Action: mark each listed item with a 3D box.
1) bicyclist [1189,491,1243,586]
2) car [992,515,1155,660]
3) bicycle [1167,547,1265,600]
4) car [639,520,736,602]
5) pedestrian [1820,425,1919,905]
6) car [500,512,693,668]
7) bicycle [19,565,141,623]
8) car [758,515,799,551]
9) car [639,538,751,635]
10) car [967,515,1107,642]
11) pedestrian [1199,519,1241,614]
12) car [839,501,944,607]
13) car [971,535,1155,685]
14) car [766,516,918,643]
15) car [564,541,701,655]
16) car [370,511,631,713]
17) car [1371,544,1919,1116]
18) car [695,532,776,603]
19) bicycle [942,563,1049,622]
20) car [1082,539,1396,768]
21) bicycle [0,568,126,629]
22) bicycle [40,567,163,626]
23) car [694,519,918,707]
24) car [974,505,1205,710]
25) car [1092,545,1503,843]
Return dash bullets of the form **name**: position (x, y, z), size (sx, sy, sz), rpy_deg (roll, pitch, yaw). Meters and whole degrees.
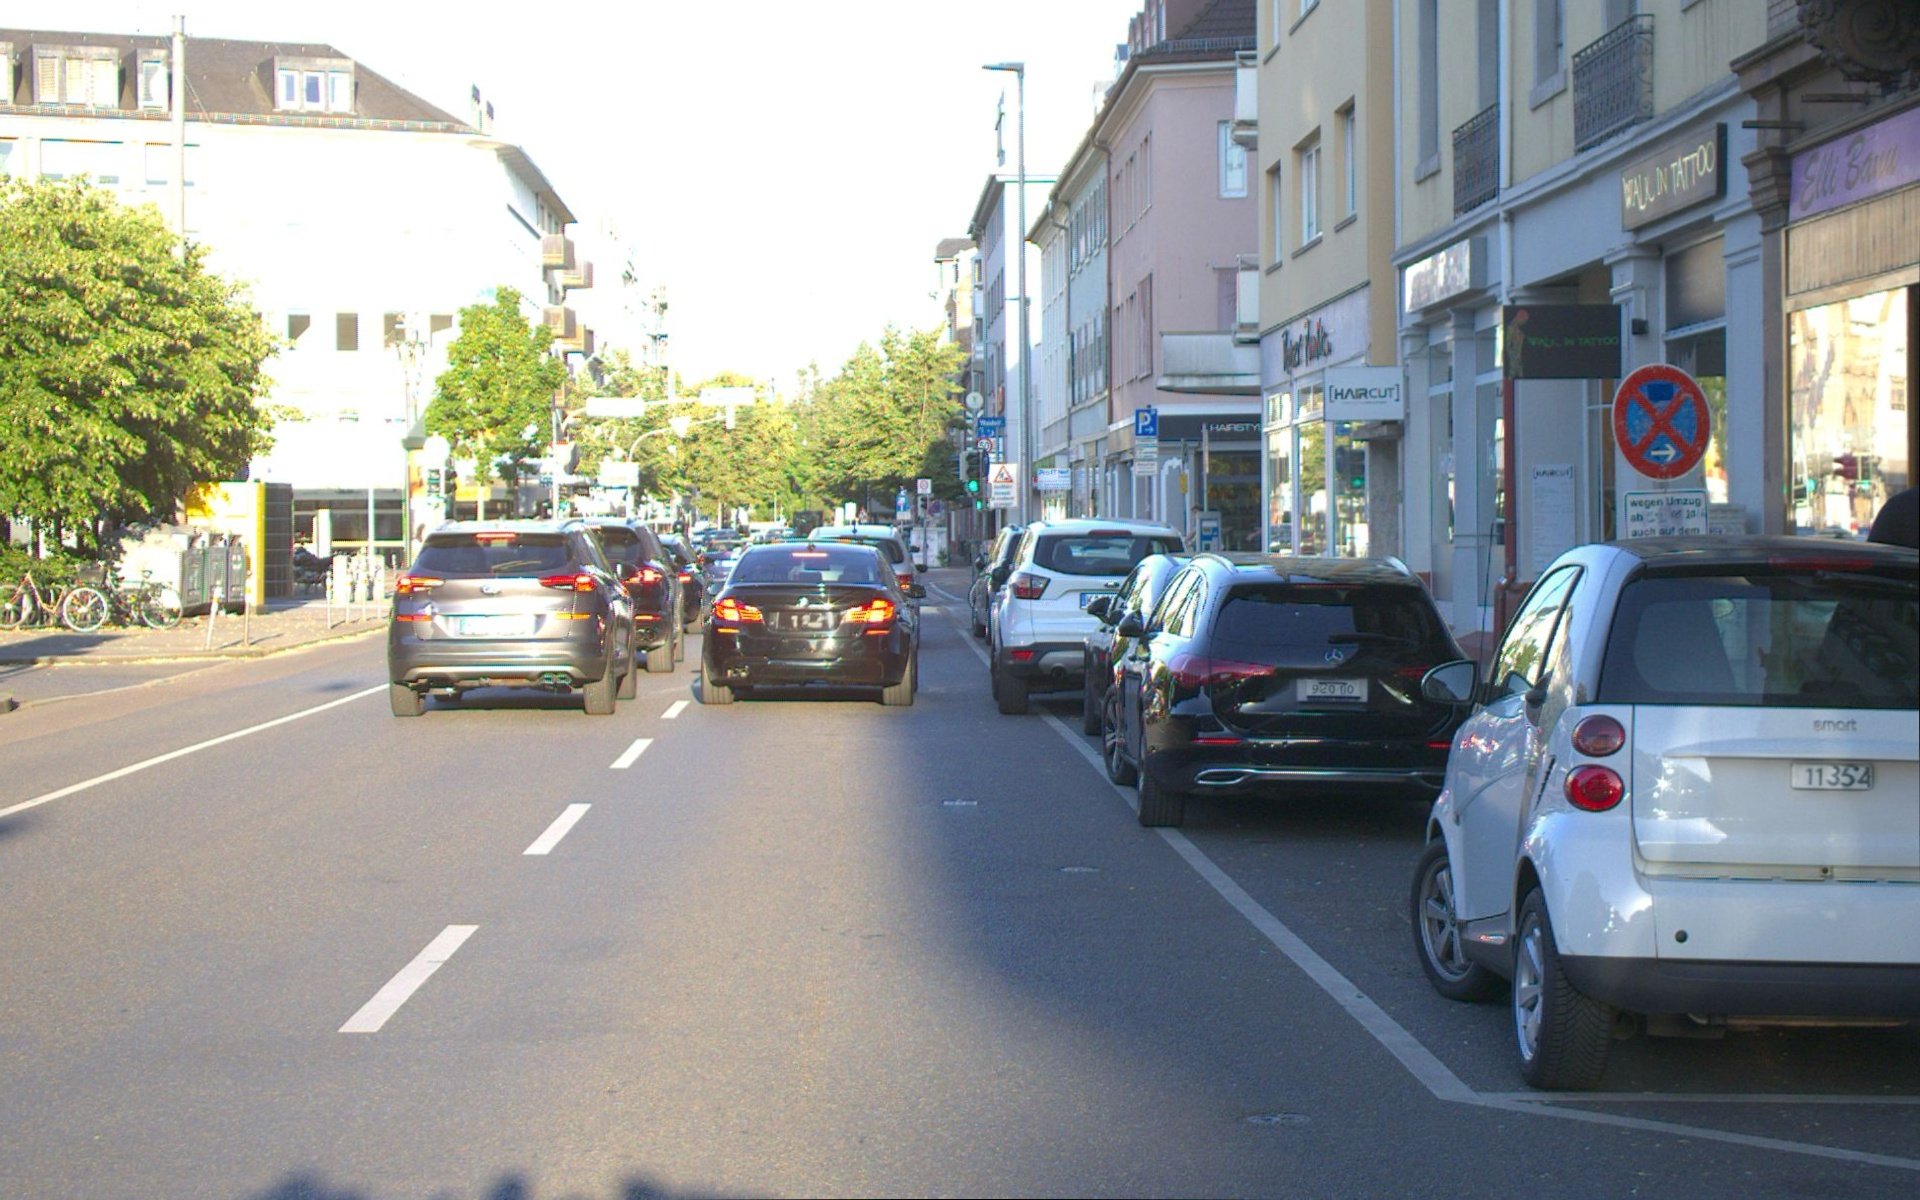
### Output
- **bicyclist**: position (4.791, -1.153, 64.446), size (0.832, 1.771, 0.608), rpy_deg (1, 1, 25)
- **car**: position (1.338, -0.172, 41.830), size (1.729, 1.646, 3.829), rpy_deg (2, 1, -1)
- **bicycle**: position (4.803, -0.508, 64.485), size (1.768, 0.963, 0.490), rpy_deg (1, 1, 26)
- **car**: position (-5.310, -0.795, 67.330), size (1.779, 1.542, 4.001), rpy_deg (0, 1, -3)
- **pedestrian**: position (3.947, 0.223, 13.566), size (0.772, 1.821, 1.011), rpy_deg (-2, 2, -2)
- **car**: position (-3.999, -0.152, 38.407), size (1.896, 1.644, 4.105), rpy_deg (0, 1, -3)
- **bicycle**: position (-14.221, -0.098, 55.563), size (1.825, 0.850, 0.484), rpy_deg (3, 1, -5)
- **car**: position (-8.059, -2.997, 152.884), size (1.779, 1.542, 4.001), rpy_deg (0, 1, -3)
- **car**: position (-4.421, -0.248, 57.809), size (1.779, 1.542, 4.001), rpy_deg (0, 1, -3)
- **car**: position (1.042, -0.316, 48.045), size (1.729, 1.646, 3.970), rpy_deg (2, 1, -1)
- **pedestrian**: position (5.019, -0.653, 66.320), size (0.699, 1.805, 0.635), rpy_deg (0, 1, -5)
- **car**: position (-1.385, -0.952, 69.837), size (1.993, 2.007, 4.000), rpy_deg (2, 1, -1)
- **car**: position (1.029, 0.069, 36.317), size (1.729, 1.445, 4.312), rpy_deg (2, 1, -1)
- **car**: position (-1.591, -0.307, 45.695), size (1.896, 1.575, 4.001), rpy_deg (1, 1, -2)
- **car**: position (-4.674, -0.064, 49.420), size (1.779, 1.542, 4.001), rpy_deg (0, 1, -3)
- **car**: position (-3.937, 0.054, 30.023), size (1.896, 1.644, 4.105), rpy_deg (0, 1, -2)
- **car**: position (2.296, 0.602, 10.915), size (1.532, 1.531, 3.283), rpy_deg (1, 1, -1)
- **car**: position (-5.106, -0.765, 78.626), size (1.779, 1.542, 4.001), rpy_deg (0, 1, -3)
- **bicycle**: position (0.601, -0.131, 57.978), size (1.766, 0.963, 0.490), rpy_deg (0, 1, 4)
- **car**: position (1.895, 0.315, 24.589), size (1.729, 1.443, 4.474), rpy_deg (2, 1, -2)
- **bicycle**: position (-13.806, -0.021, 52.859), size (1.825, 0.850, 0.484), rpy_deg (3, 1, -5)
- **bicycle**: position (-13.647, -0.055, 54.667), size (1.825, 0.850, 0.484), rpy_deg (3, 1, -5)
- **car**: position (-1.409, 0.065, 31.550), size (1.896, 1.575, 4.001), rpy_deg (1, 1, -2)
- **car**: position (1.080, 0.035, 30.553), size (1.729, 1.645, 4.285), rpy_deg (2, 1, -2)
- **car**: position (1.777, 0.439, 19.485), size (1.729, 1.443, 4.525), rpy_deg (2, 1, -2)
